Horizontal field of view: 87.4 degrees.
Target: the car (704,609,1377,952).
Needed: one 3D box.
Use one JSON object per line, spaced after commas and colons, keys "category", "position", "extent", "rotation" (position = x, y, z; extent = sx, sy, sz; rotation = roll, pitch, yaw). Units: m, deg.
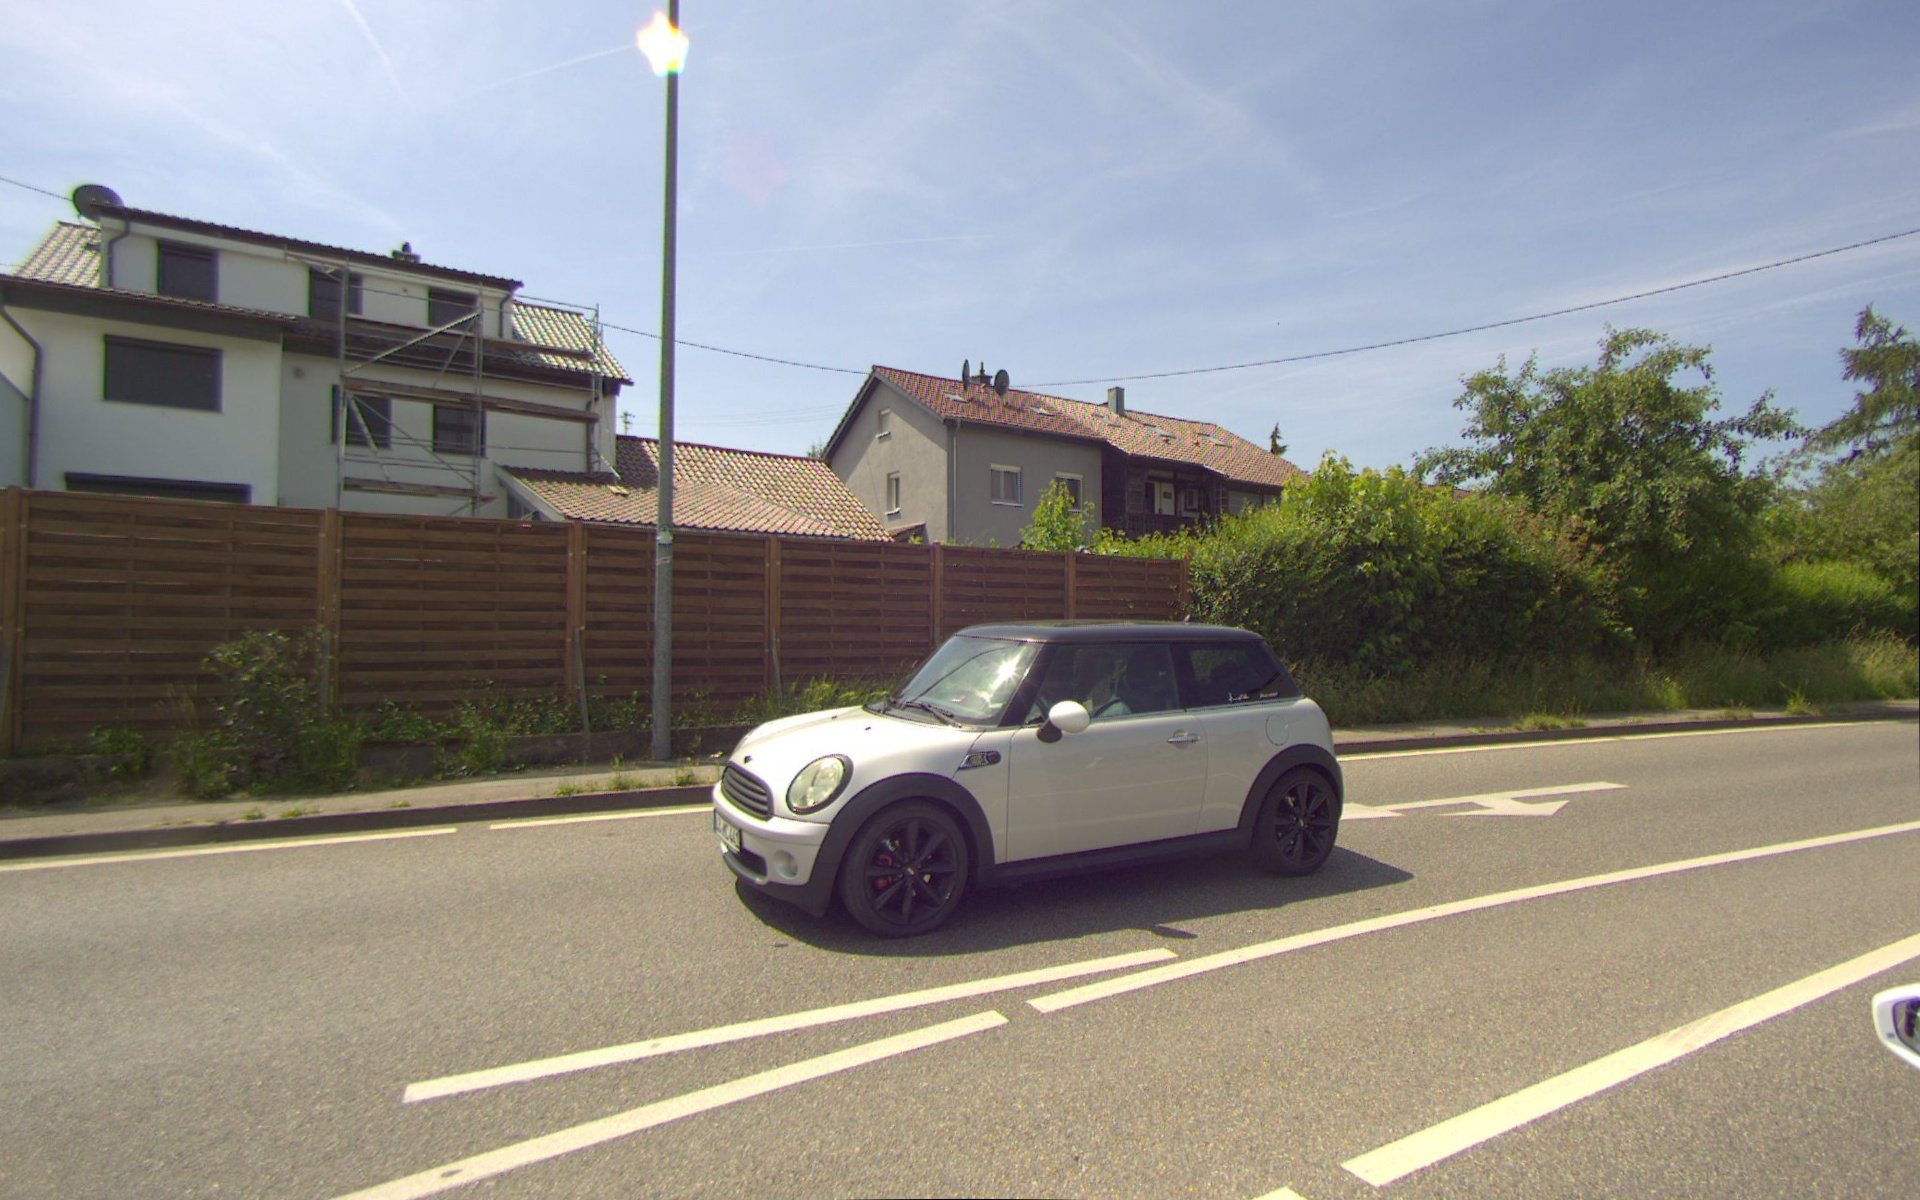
{"category": "car", "position": [0.497, 0.774, 5.708], "extent": [3.516, 1.400, 1.615], "rotation": [1, 0, -29]}
